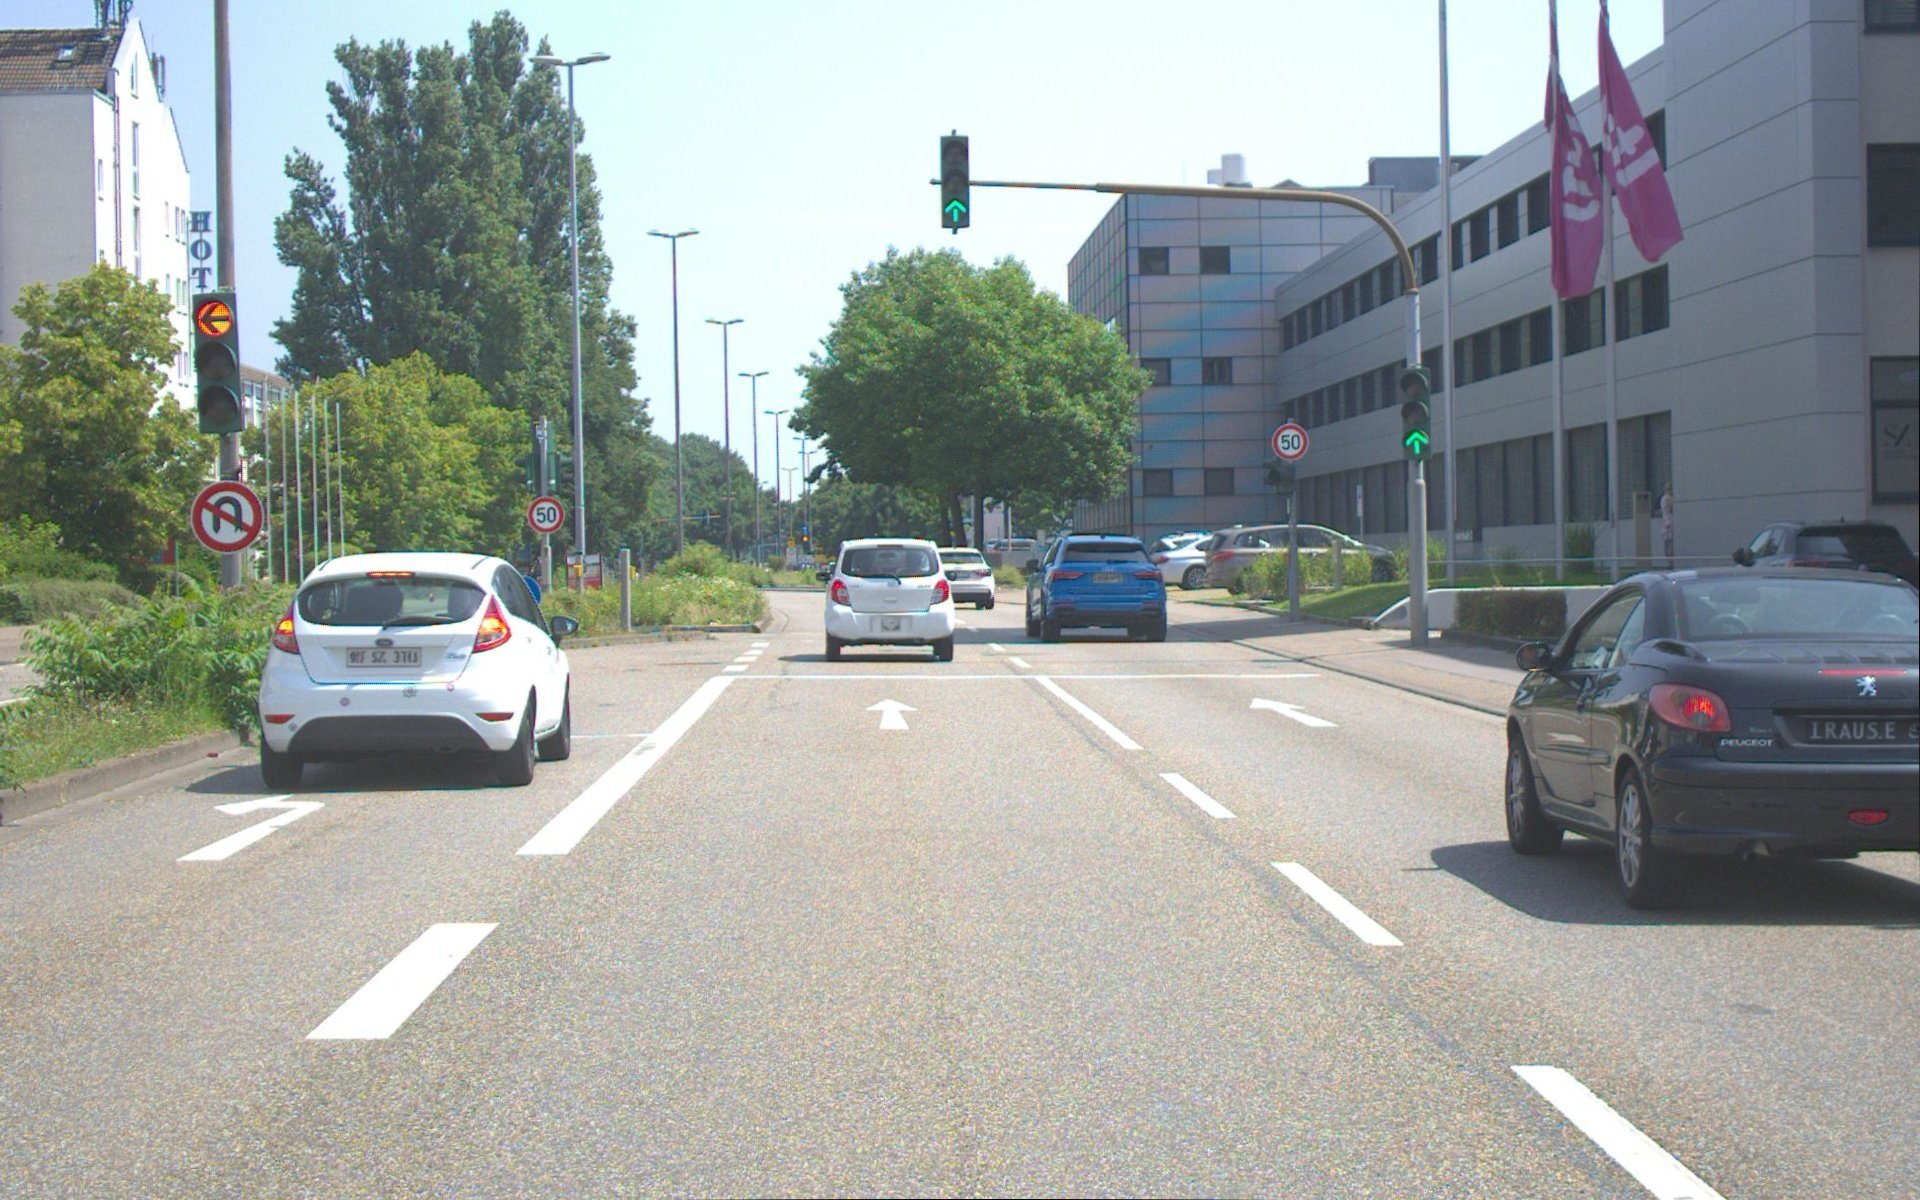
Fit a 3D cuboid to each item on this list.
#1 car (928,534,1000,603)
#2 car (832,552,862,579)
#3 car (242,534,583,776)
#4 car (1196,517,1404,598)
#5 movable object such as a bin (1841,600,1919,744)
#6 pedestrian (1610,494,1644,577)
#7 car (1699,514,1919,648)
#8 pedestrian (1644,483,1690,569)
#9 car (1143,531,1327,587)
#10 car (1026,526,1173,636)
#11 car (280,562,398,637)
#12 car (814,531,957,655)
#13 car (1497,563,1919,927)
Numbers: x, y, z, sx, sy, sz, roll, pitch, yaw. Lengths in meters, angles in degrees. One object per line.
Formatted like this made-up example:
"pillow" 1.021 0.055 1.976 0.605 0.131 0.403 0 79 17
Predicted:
"car" 0.106 -0.744 79.003 1.559 1.515 3.605 -1 1 1
"car" -7.171 -2.211 217.919 1.819 1.656 4.000 -1 1 -2
"car" -3.500 0.296 22.547 1.688 1.429 3.711 -1 1 -1
"car" 7.568 -0.965 76.737 4.258 1.683 2.000 -1 1 -6
"movable object such as a bin" 6.394 0.484 23.423 0.551 0.916 0.653 -4 1 -1
"pedestrian" 13.291 -1.288 68.485 0.593 1.629 0.523 -1 1 7
"car" 10.348 -0.251 41.527 1.844 1.526 4.197 1 1 -1
"pedestrian" 13.730 -1.433 66.785 0.521 1.657 0.757 -2 1 -19
"car" 7.365 -1.103 92.395 4.612 1.385 2.000 -1 1 -6
"car" 2.068 -0.309 51.815 1.827 1.575 3.606 -1 1 -3
"car" -13.248 -0.030 73.569 1.993 1.481 4.502 -1 1 -4
"car" -0.916 -0.125 44.103 1.748 1.515 3.746 0 1 0
"car" 3.451 0.536 14.941 1.627 1.359 3.606 0 1 -1
